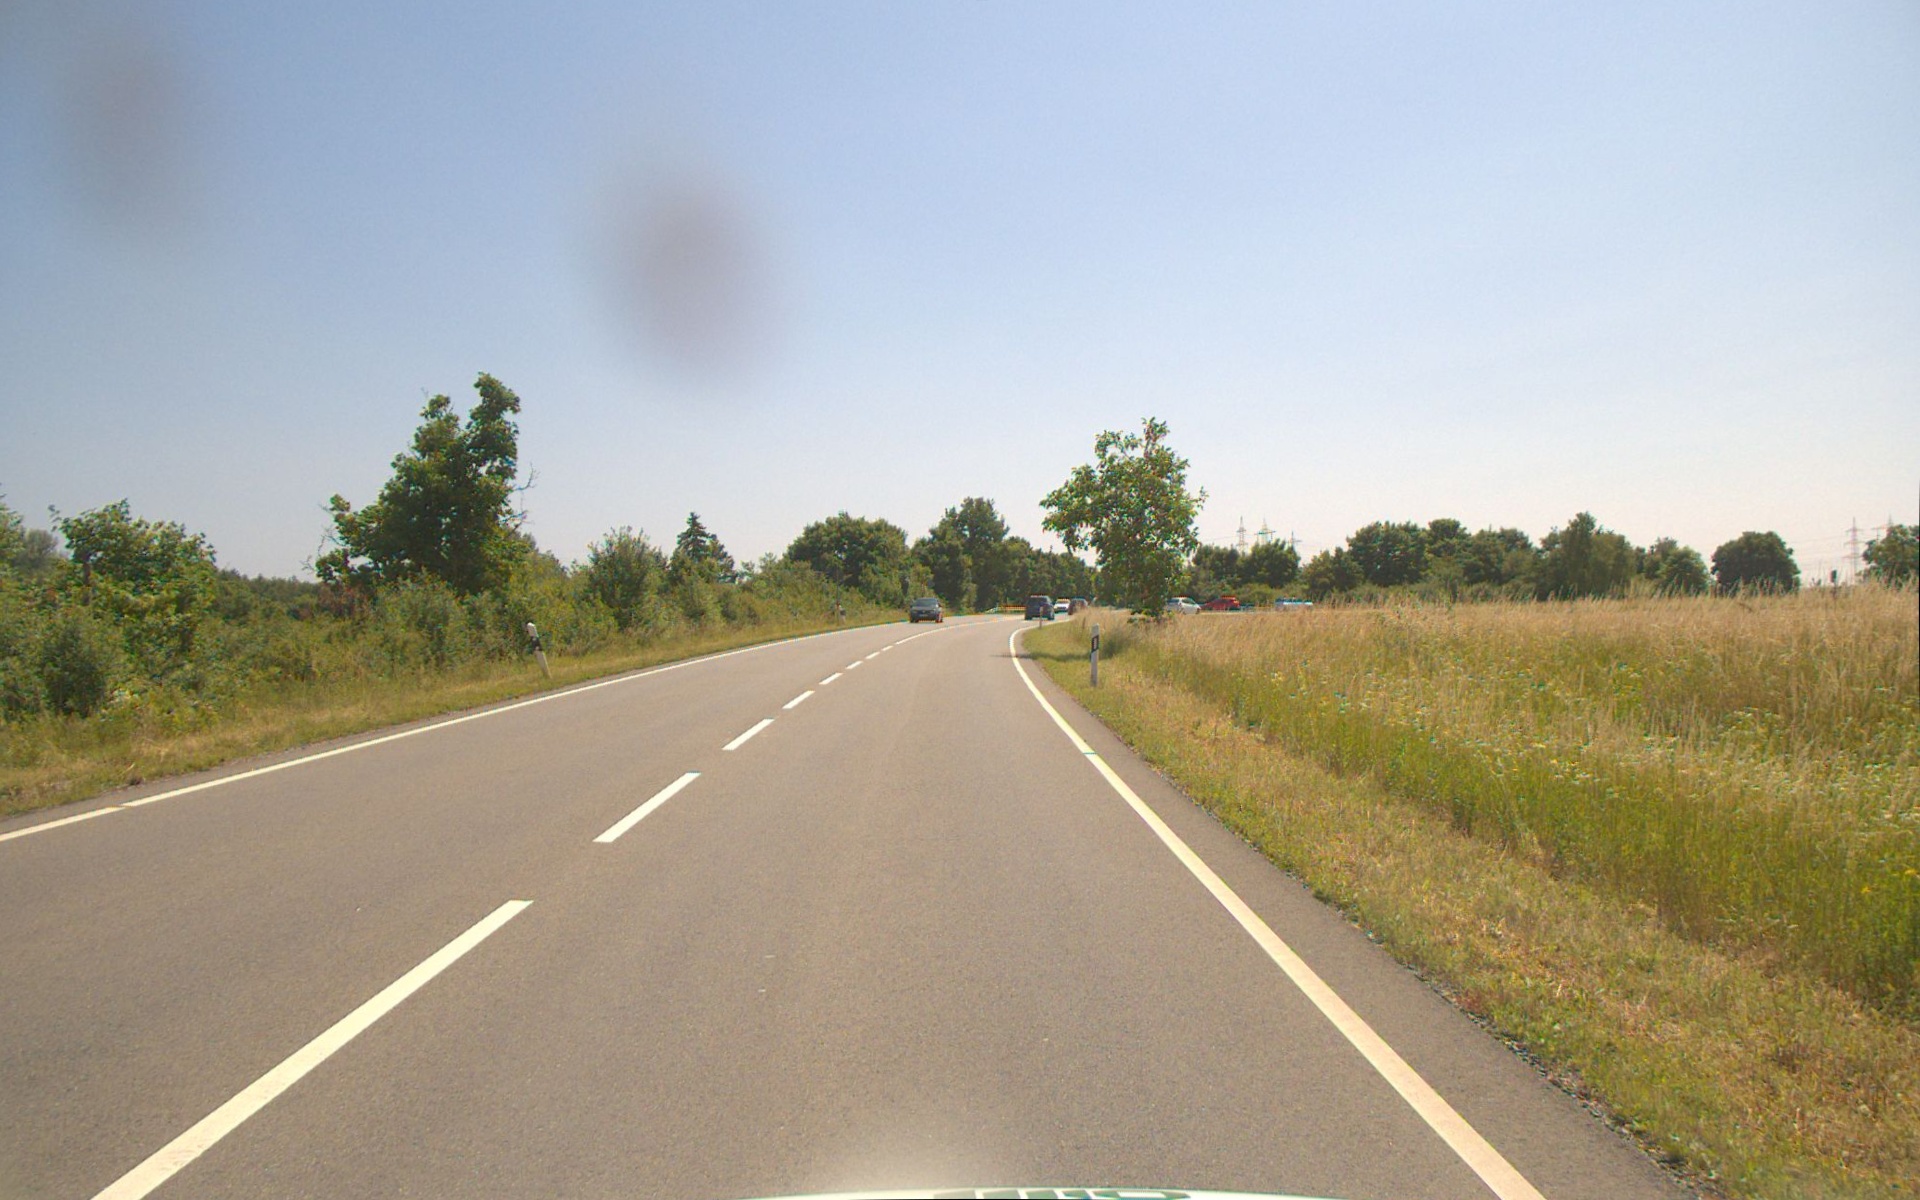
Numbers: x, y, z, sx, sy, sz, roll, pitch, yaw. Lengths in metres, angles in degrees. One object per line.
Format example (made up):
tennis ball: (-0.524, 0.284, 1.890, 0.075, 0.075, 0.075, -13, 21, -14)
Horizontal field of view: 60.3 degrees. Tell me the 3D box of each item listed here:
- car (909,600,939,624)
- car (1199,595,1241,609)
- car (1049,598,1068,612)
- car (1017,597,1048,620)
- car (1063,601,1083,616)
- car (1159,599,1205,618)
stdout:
car: (-2.085, 0.700, 96.361, 1.658, 1.386, 3.826, 1, 0, 0)
car: (27.085, 0.222, 172.193, 4.068, 1.443, 1.779, -1, -1, 23)
car: (10.594, 0.556, 177.654, 1.797, 1.443, 4.718, 1, 0, 5)
car: (5.161, 0.596, 116.825, 1.844, 1.544, 4.042, 1, 0, 7)
car: (10.385, 0.807, 152.260, 1.609, 1.364, 4.042, 1, 0, 7)
car: (20.696, 0.762, 154.302, 4.106, 1.652, 2.040, -1, 0, -42)
